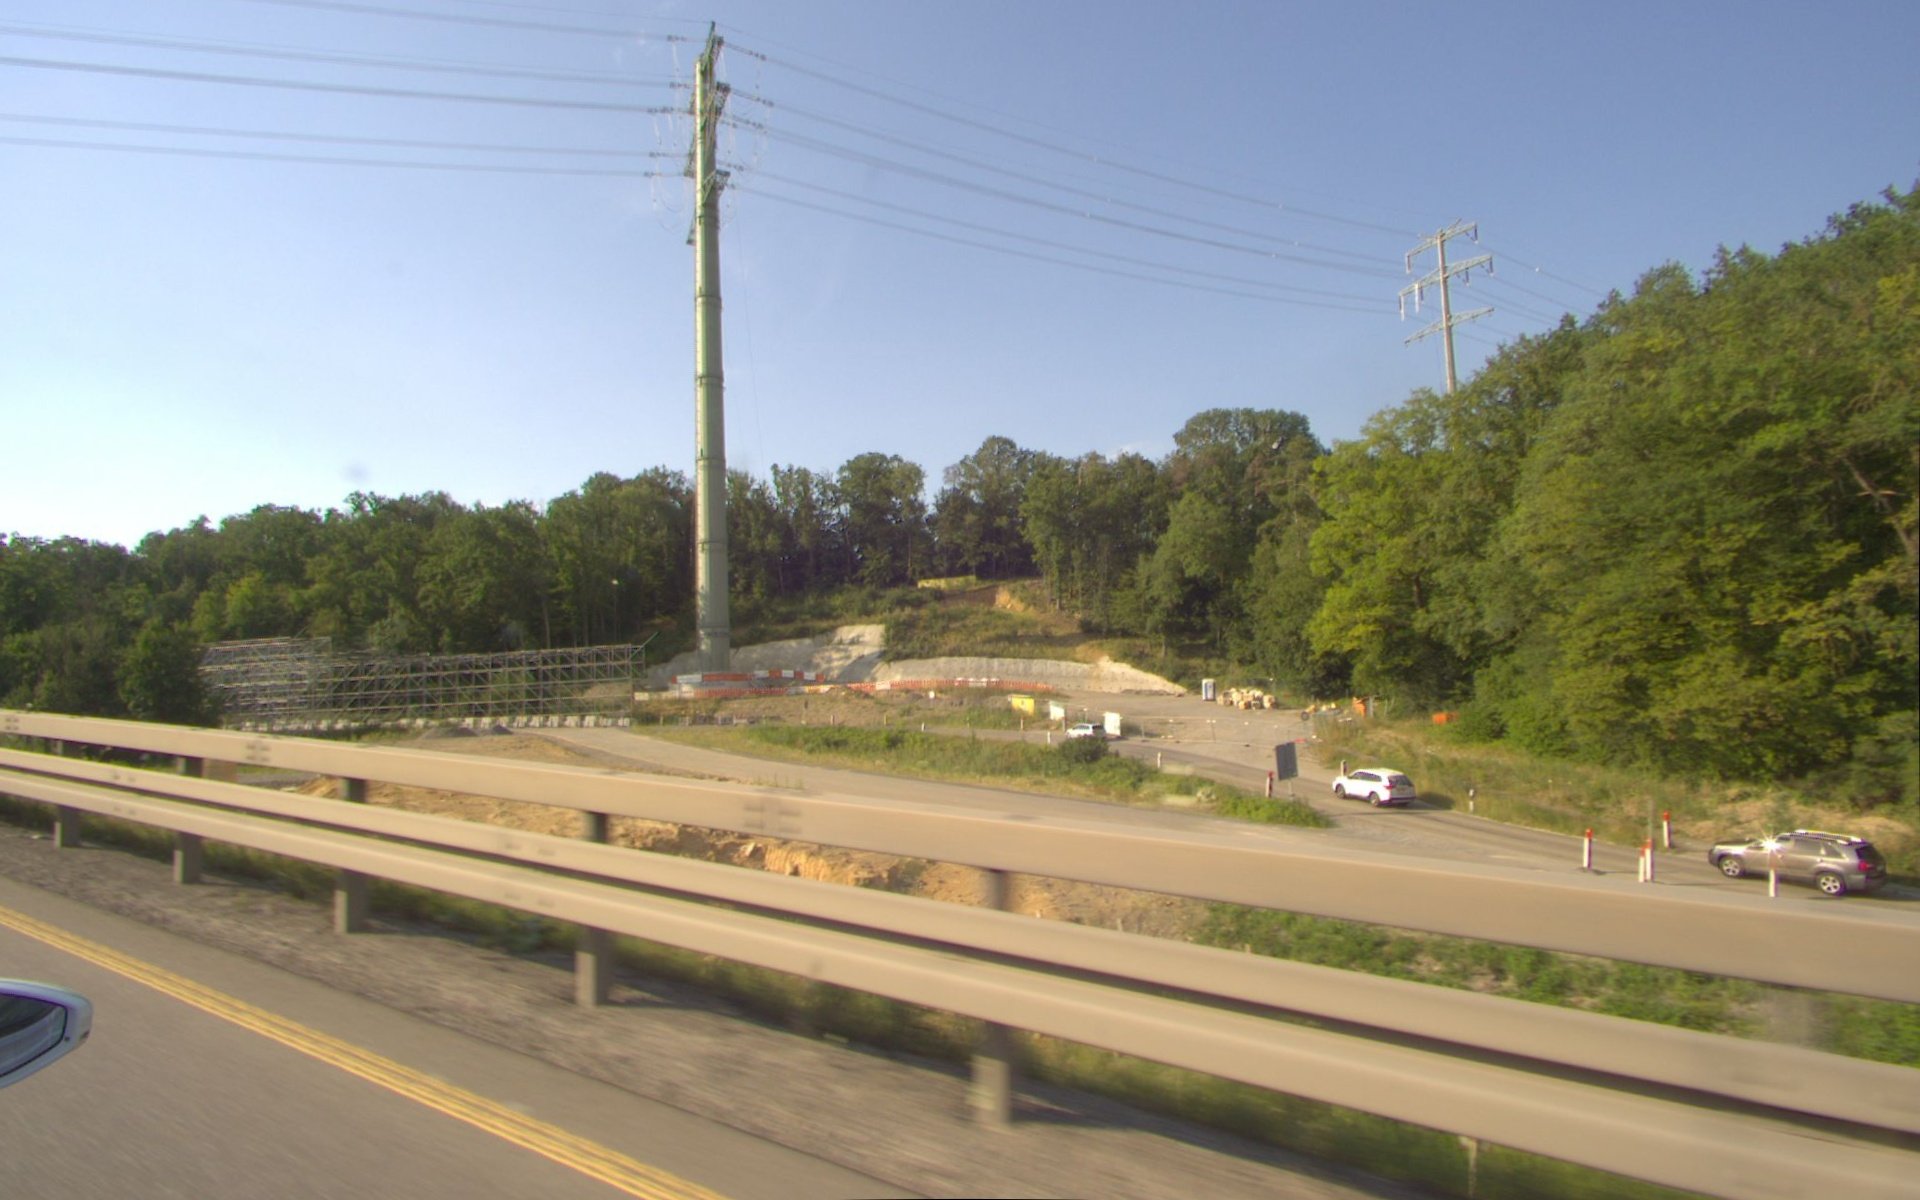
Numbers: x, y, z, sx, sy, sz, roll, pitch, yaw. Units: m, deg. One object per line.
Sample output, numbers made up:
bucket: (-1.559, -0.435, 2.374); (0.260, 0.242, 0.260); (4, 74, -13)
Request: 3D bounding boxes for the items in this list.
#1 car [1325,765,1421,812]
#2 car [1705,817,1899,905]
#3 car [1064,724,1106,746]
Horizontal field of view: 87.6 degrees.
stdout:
car: (20.169, 9.187, 49.122); (1.647, 1.682, 4.458); (2, -4, -24)
car: (27.286, 8.392, 32.605); (1.842, 1.807, 4.477); (1, -2, -30)
car: (10.588, 11.436, 85.065); (1.506, 1.479, 4.254); (-1, -2, -25)
